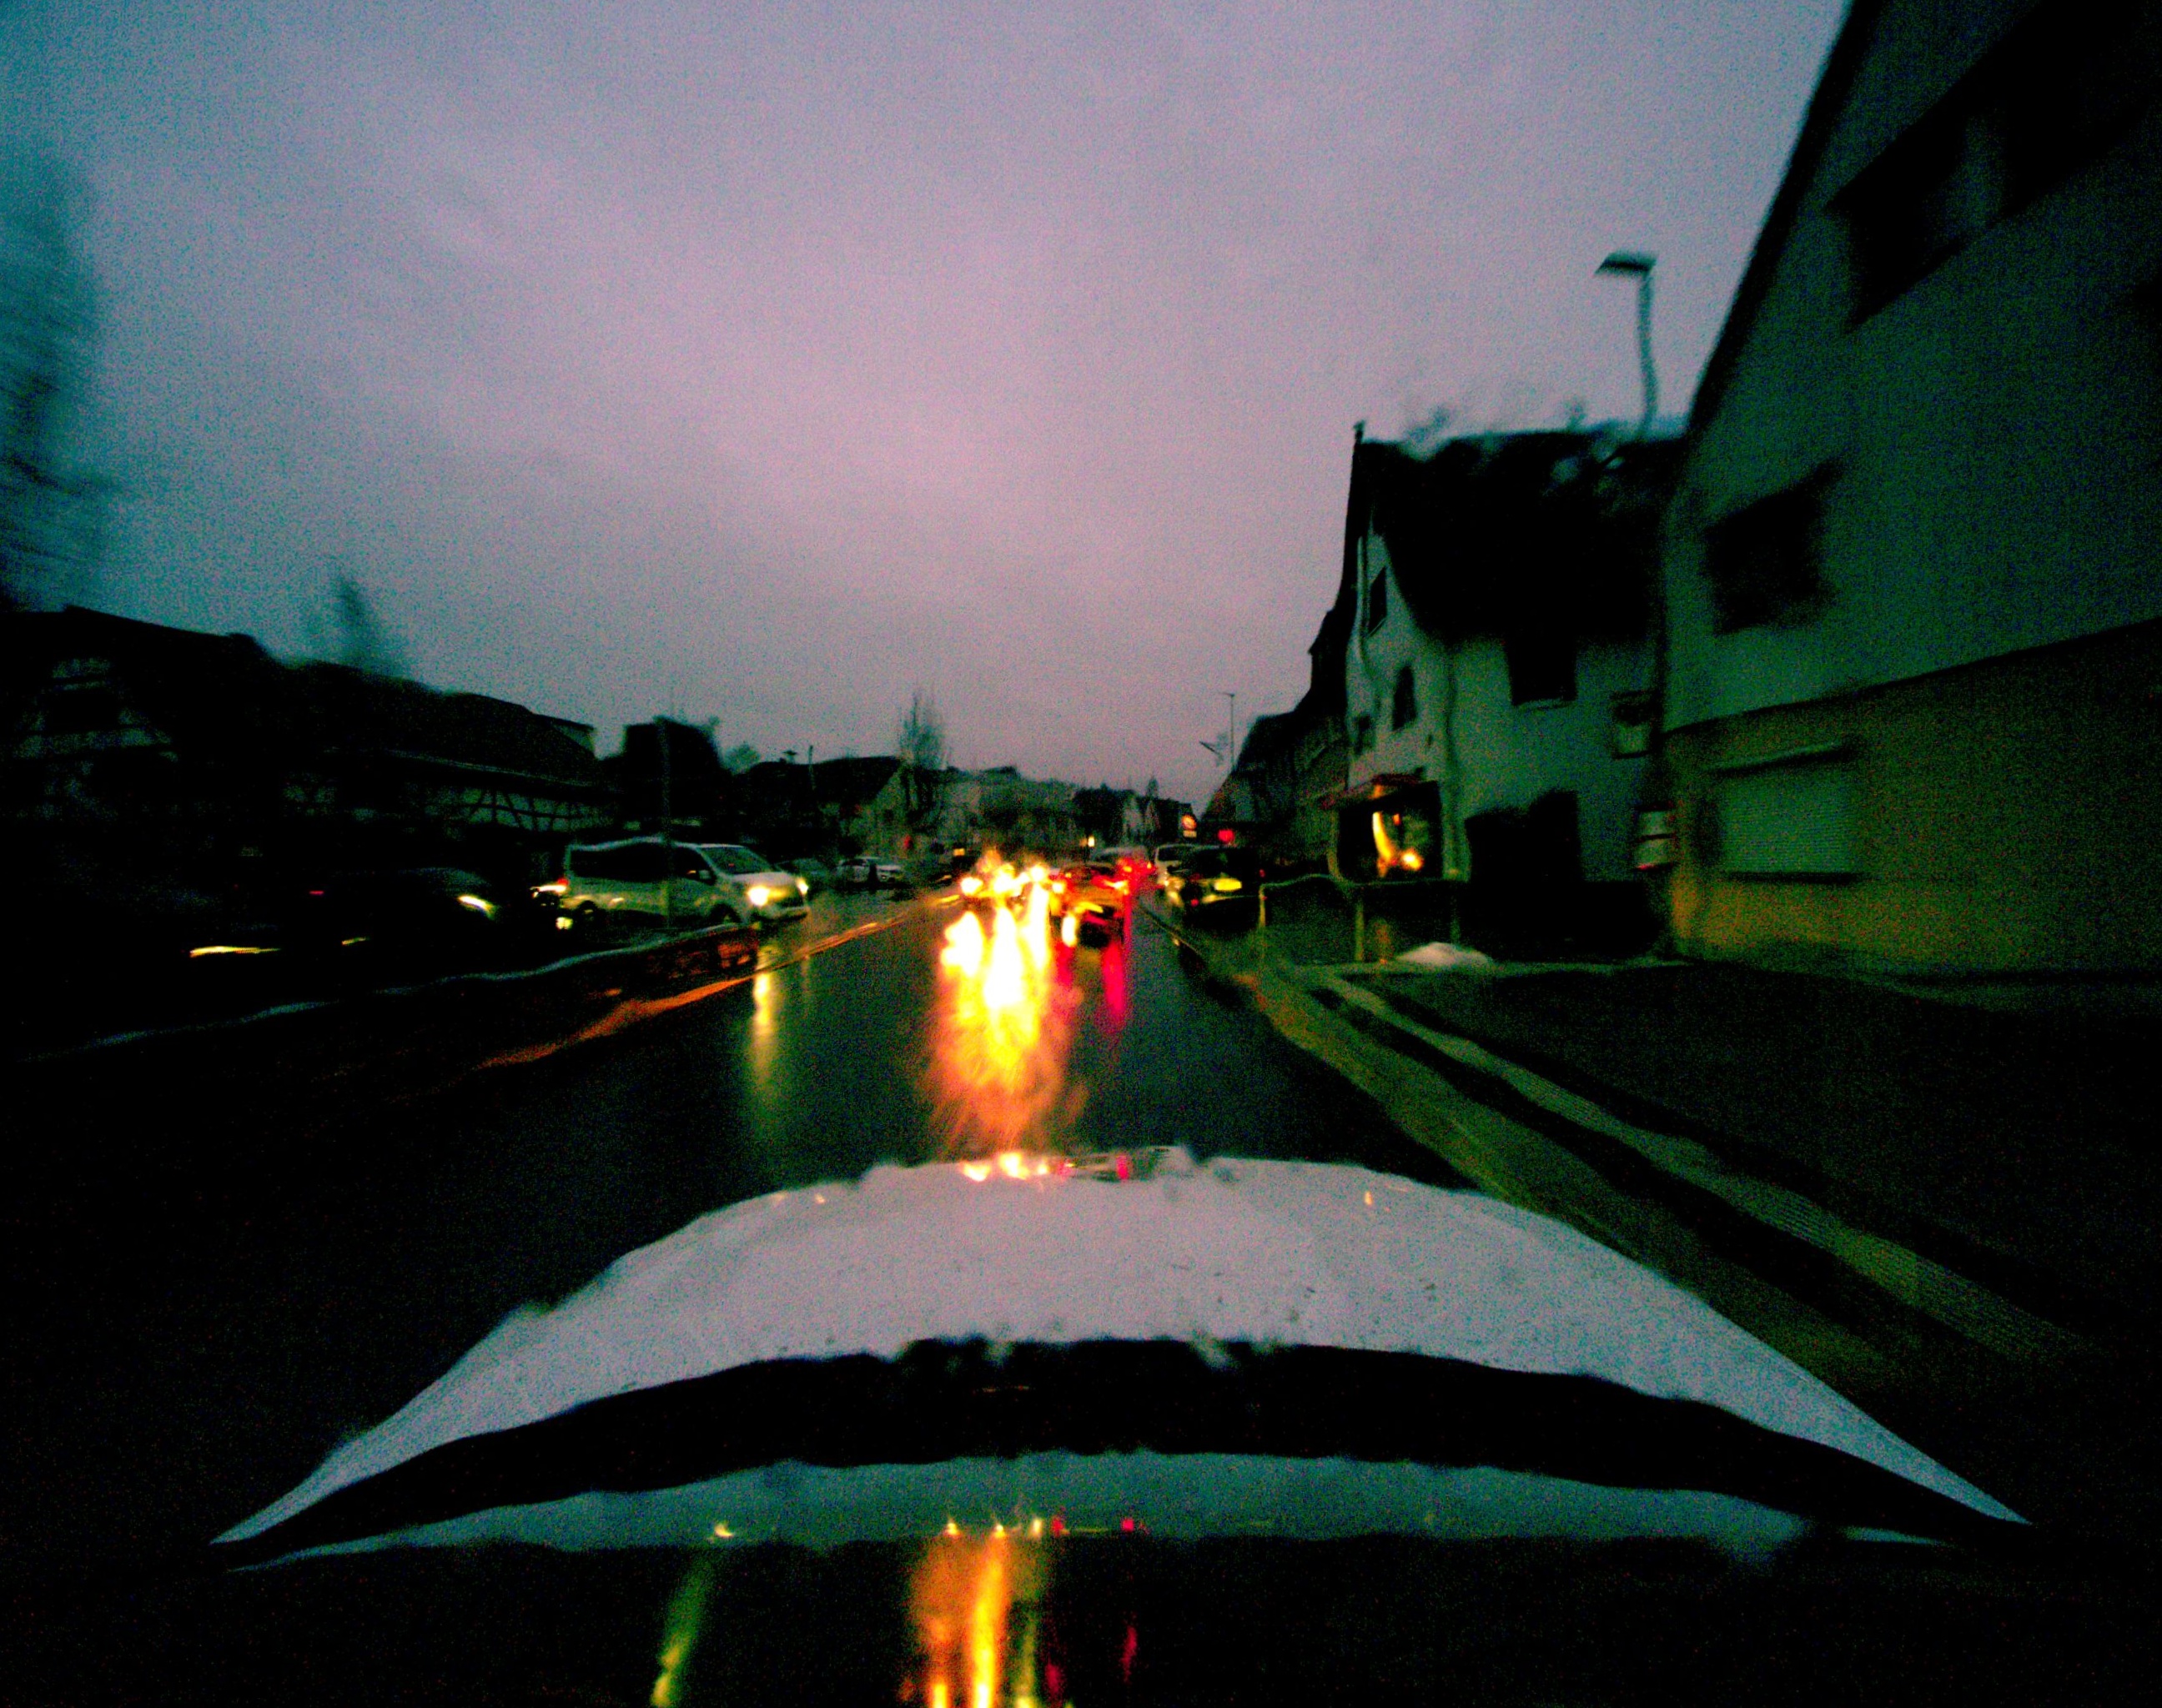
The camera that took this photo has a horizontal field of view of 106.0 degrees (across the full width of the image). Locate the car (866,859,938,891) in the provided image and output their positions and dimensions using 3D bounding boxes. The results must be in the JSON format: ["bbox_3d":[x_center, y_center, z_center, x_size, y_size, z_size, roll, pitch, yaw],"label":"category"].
[{"bbox_3d":[-9.956,1.166,45.150,4.060,1.582,1.731,-4,-2,40],"label":"car"}]

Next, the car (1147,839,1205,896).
[{"bbox_3d":[3.625,0.485,31.272,1.963,1.960,4.860,-2,0,6],"label":"car"}]

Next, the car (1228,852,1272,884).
[{"bbox_3d":[8.923,0.723,43.233,1.726,1.561,3.666,-3,0,3],"label":"car"}]

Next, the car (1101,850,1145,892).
[{"bbox_3d":[1.838,0.696,34.873,1.790,1.662,4.004,-1,0,4],"label":"car"}]

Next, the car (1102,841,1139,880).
[{"bbox_3d":[2.812,0.431,56.430,2.184,2.490,6.152,-2,0,6],"label":"car"}]

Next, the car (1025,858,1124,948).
[{"bbox_3d":[-0.087,1.026,19.197,1.986,1.795,4.649,-2,0,1],"label":"car"}]

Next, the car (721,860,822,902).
[{"bbox_3d":[-11.937,1.053,31.322,3.882,1.459,1.774,-3,0,36],"label":"car"}]

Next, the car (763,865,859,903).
[{"bbox_3d":[-11.374,1.268,34.193,4.021,1.459,1.769,-2,-1,35],"label":"car"}]

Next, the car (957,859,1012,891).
[{"bbox_3d":[-4.882,1.036,41.852,1.895,1.533,4.262,-1,0,5],"label":"car"}]

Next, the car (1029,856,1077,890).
[{"bbox_3d":[-1.348,0.925,41.196,1.817,1.518,4.555,-2,0,5],"label":"car"}]

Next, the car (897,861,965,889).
[{"bbox_3d":[-8.846,1.210,47.890,3.950,1.530,2.012,-2,0,45],"label":"car"}]

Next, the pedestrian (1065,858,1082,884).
[{"bbox_3d":[-0.552,1.241,60.202,0.746,1.866,1.067,-2,-1,32],"label":"pedestrian"}]

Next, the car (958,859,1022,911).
[{"bbox_3d":[-2.970,0.985,27.319,1.614,1.480,3.839,-3,0,1],"label":"car"}]

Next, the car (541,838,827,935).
[{"bbox_3d":[-8.722,0.664,17.988,5.718,1.946,1.999,-1,0,15],"label":"car"}]

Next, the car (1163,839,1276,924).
[{"bbox_3d":[3.057,0.568,18.861,1.967,1.661,4.462,-2,0,2],"label":"car"}]

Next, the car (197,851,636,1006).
[{"bbox_3d":[-8.342,0.872,10.545,3.973,1.684,2.000,-2,0,1],"label":"car"}]

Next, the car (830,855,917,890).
[{"bbox_3d":[-10.655,0.968,41.610,4.596,1.654,2.000,-3,-2,40],"label":"car"}]

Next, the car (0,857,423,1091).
[{"bbox_3d":[-9.451,1.146,8.254,4.014,1.951,1.750,-4,0,1],"label":"car"}]
